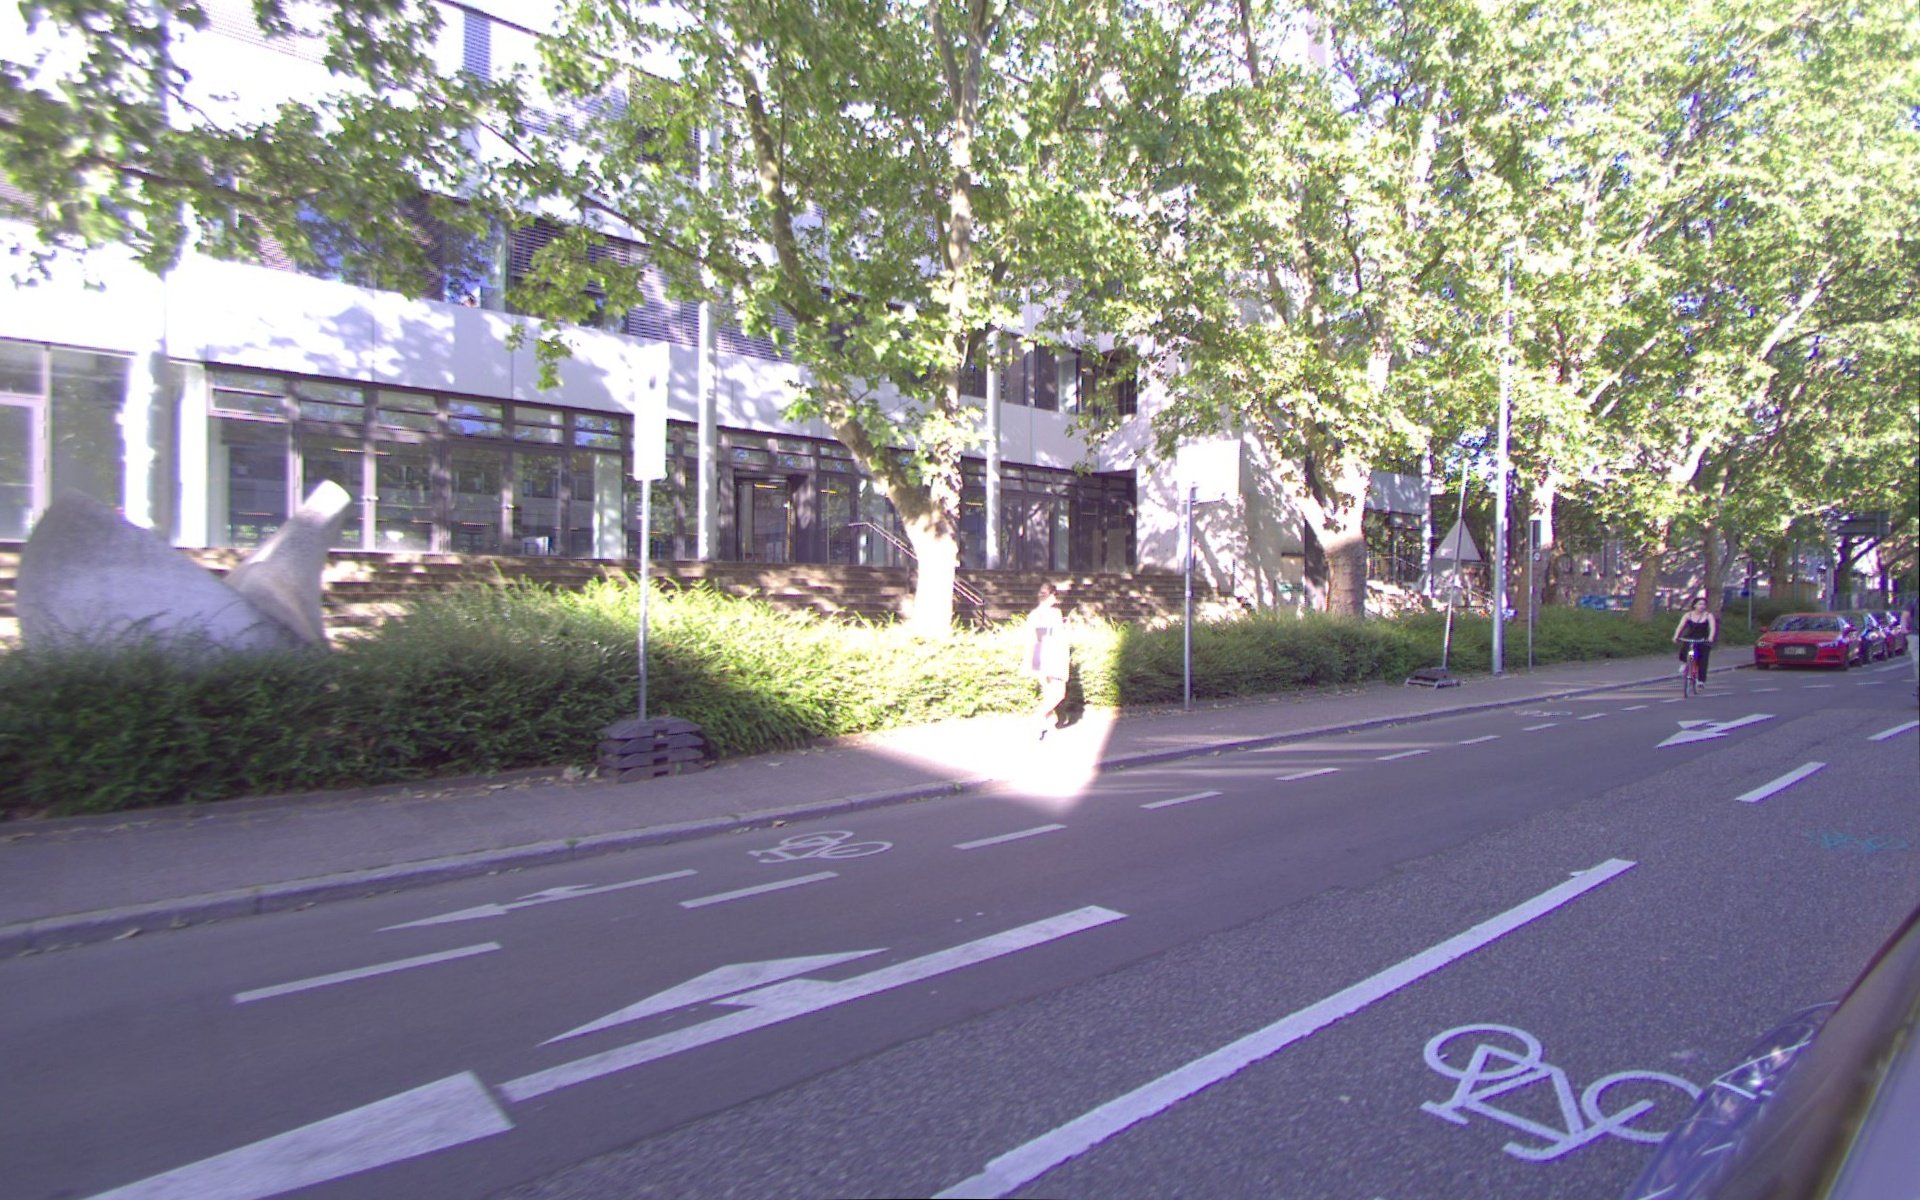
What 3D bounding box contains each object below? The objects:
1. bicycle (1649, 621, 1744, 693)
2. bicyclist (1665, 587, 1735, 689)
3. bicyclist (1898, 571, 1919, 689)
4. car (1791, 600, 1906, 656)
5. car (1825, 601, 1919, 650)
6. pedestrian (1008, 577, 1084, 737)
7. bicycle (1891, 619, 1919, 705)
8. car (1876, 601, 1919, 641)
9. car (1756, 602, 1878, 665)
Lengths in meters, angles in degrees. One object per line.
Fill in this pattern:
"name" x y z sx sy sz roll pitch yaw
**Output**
"bicycle" 12.720 0.942 17.440 2.767 1.150 0.769 1 -1 -42
"bicyclist" 12.860 0.644 17.580 0.880 1.701 0.769 0 -2 -42
"bicyclist" 14.717 0.436 15.220 0.885 1.755 0.769 0 -1 -42
"car" 25.467 0.741 28.976 4.004 1.466 1.897 0 0 -40
"car" 29.500 0.763 32.578 4.004 1.469 1.897 0 0 -40
"pedestrian" 0.901 0.567 10.595 0.671 1.614 0.462 0 0 -42
"bicycle" 14.549 0.889 15.047 2.767 1.150 0.769 -1 -1 -42
"car" 36.529 0.766 38.552 4.004 1.469 1.897 0 0 -40
"car" 21.984 0.802 25.913 4.007 1.461 1.896 0 0 -42
